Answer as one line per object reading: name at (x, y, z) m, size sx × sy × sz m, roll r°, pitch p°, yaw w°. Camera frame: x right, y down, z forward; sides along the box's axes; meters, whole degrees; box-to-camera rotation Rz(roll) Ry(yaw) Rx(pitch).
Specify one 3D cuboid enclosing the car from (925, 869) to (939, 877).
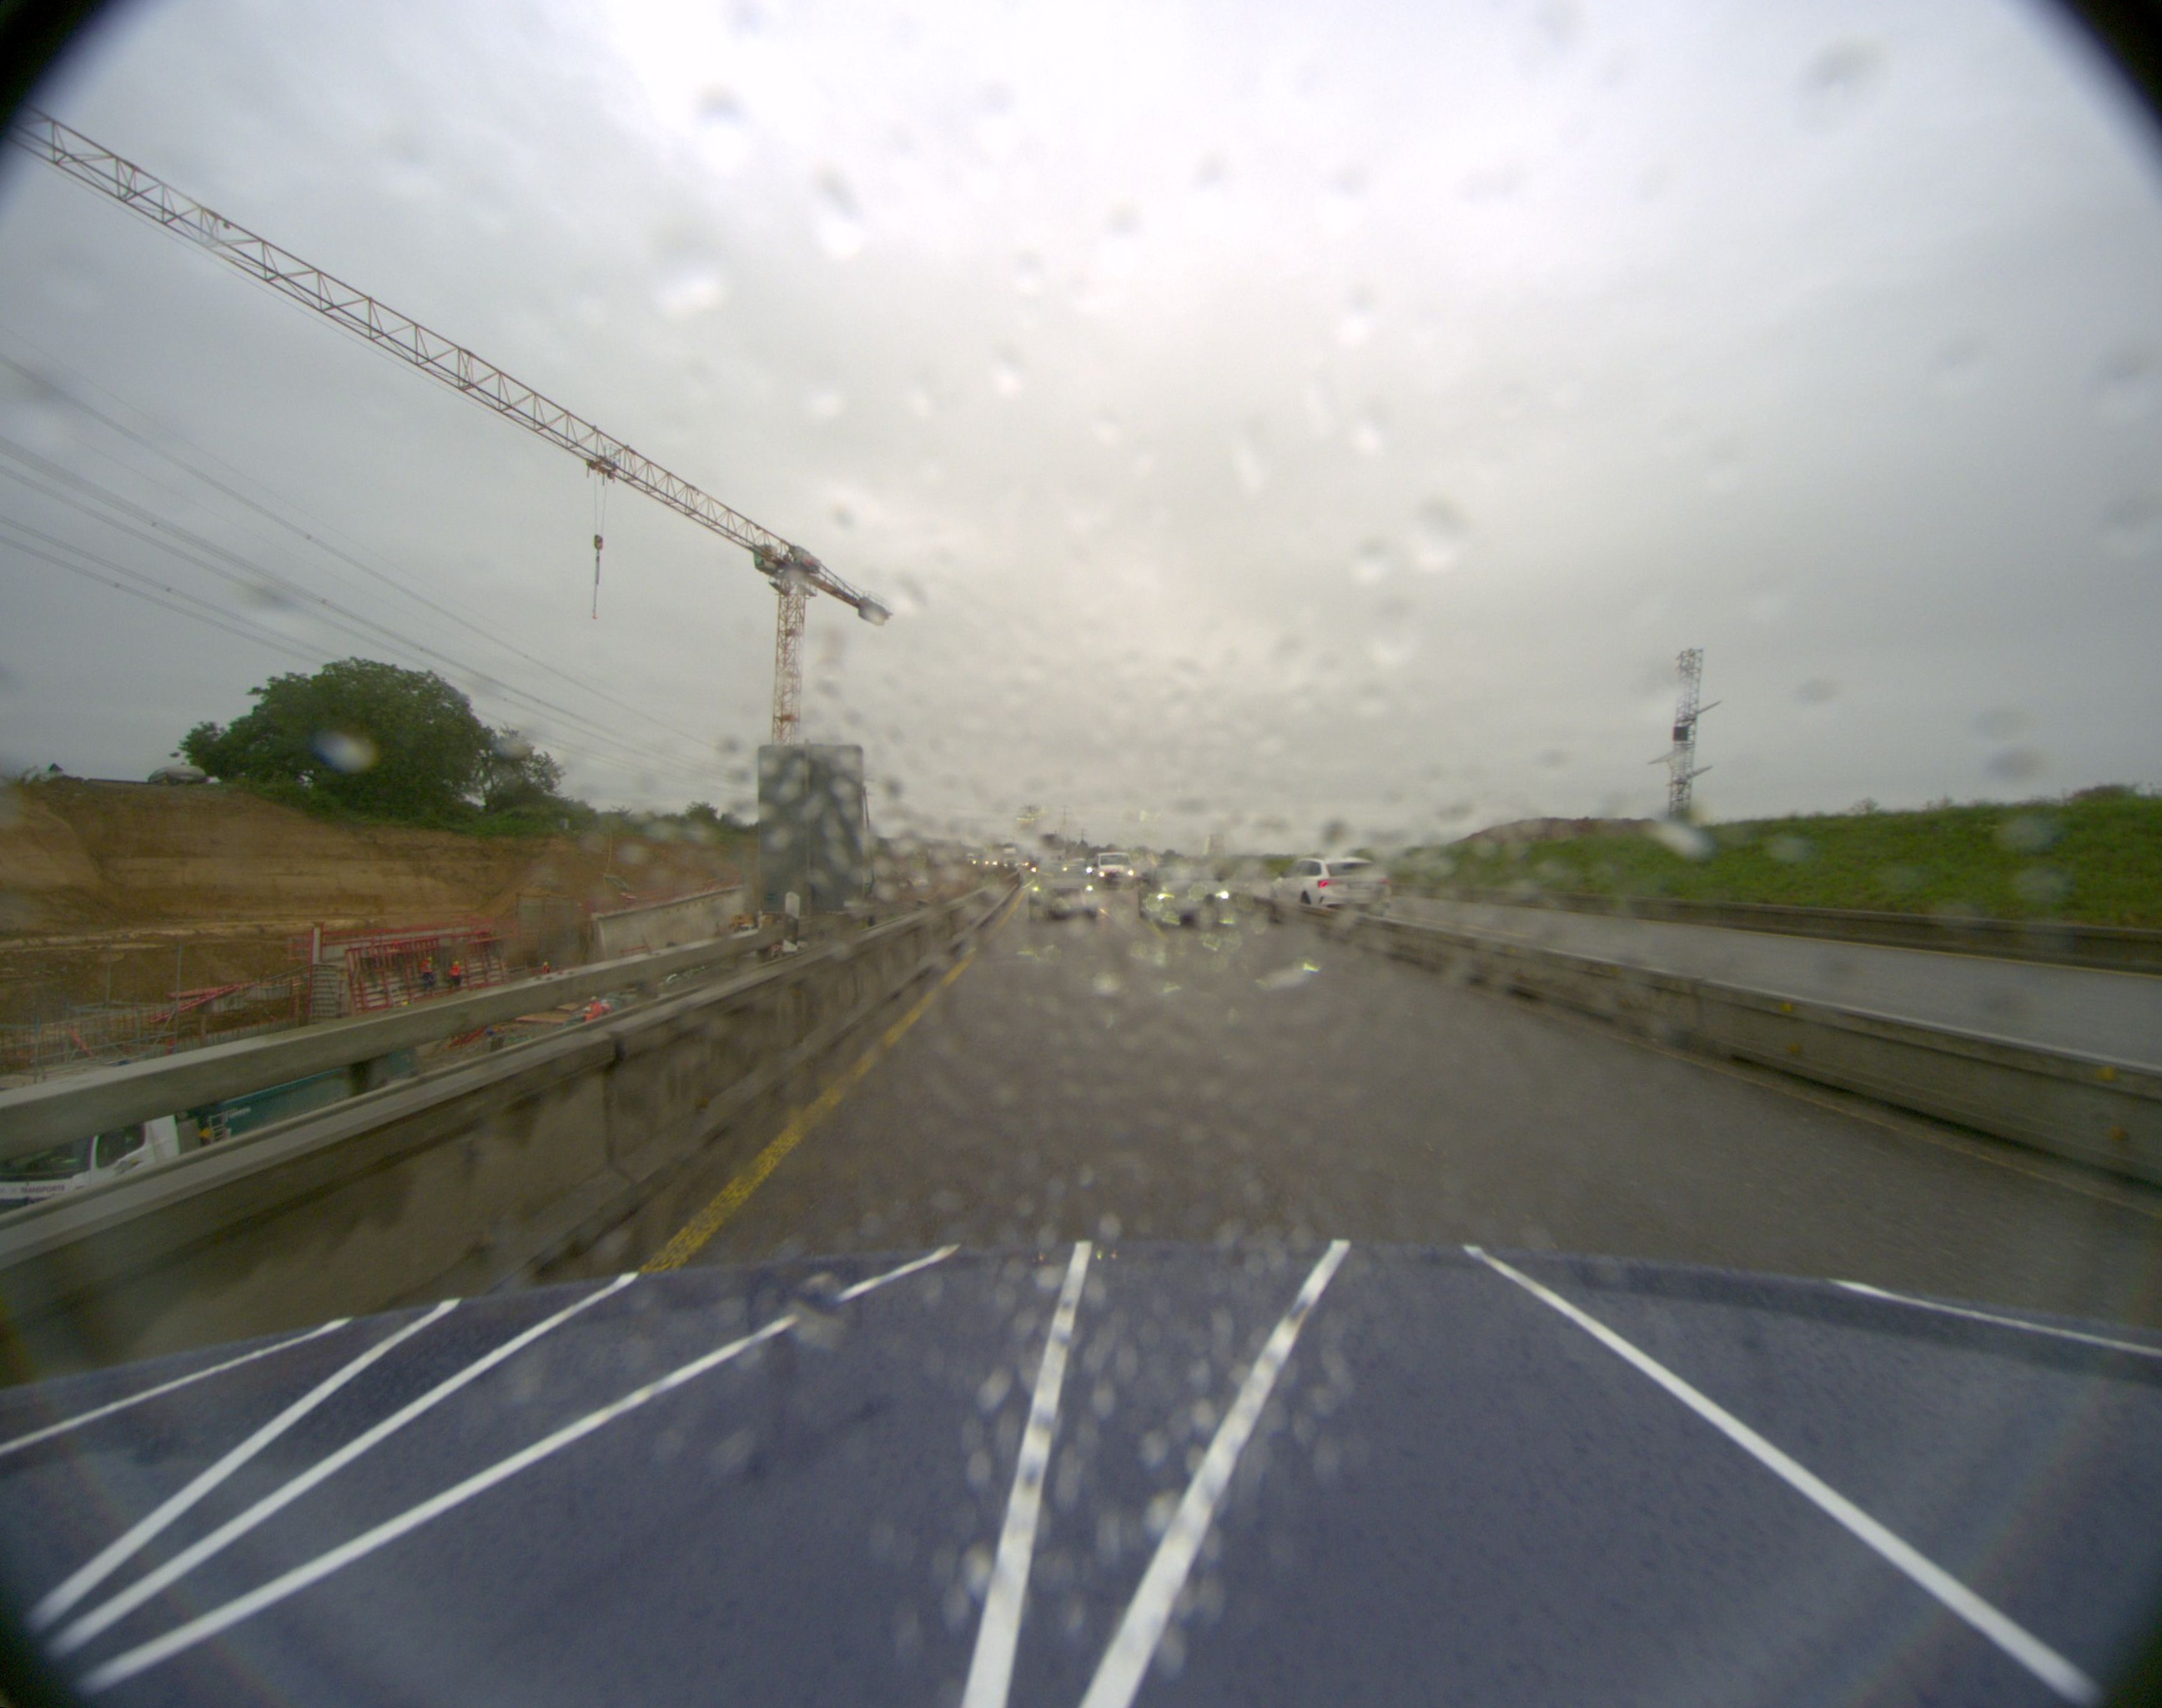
car at (-32.593, 4.156, 166.515) m, size 2.351 × 1.609 × 4.857 m, roll 0°, pitch 1°, yaw -4°

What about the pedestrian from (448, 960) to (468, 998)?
pedestrian at (-35.440, 7.110, 43.209) m, size 0.489 × 2.087 × 0.481 m, roll -6°, pitch 2°, yaw -3°

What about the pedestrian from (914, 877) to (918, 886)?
pedestrian at (-29.601, 4.970, 136.299) m, size 0.614 × 1.671 × 0.603 m, roll -2°, pitch 1°, yaw -2°

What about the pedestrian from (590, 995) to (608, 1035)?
pedestrian at (-24.281, 8.102, 38.272) m, size 0.603 × 1.894 × 0.481 m, roll 2°, pitch 1°, yaw -3°

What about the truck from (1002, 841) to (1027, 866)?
truck at (-12.858, -0.080, 146.375) m, size 4.320 × 4.319 × 13.399 m, roll -2°, pitch 0°, yaw -6°

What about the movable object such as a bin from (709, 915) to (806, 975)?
movable object such as a bin at (-23.201, 6.456, 55.011) m, size 3.515 × 3.405 × 6.654 m, roll -1°, pitch 2°, yaw 6°

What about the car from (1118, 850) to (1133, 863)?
car at (5.315, 0.256, 90.361) m, size 1.362 × 1.456 × 3.715 m, roll 1°, pitch 1°, yaw -3°

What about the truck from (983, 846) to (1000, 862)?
truck at (-23.094, 0.079, 196.090) m, size 3.546 × 3.871 × 8.332 m, roll -2°, pitch 0°, yaw -3°

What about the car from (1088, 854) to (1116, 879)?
car at (1.419, 0.815, 52.626) m, size 1.626 × 1.583 × 3.999 m, roll -2°, pitch 0°, yaw -3°

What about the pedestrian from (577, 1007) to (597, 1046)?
pedestrian at (-23.620, 8.231, 36.319) m, size 0.603 × 1.759 × 0.481 m, roll 3°, pitch 1°, yaw -3°

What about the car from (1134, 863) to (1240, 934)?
car at (2.368, 0.950, 17.968) m, size 1.805 × 1.375 × 4.086 m, roll -1°, pitch 1°, yaw -2°

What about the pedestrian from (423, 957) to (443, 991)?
pedestrian at (-35.552, 6.573, 41.689) m, size 0.488 × 1.793 × 0.583 m, roll -5°, pitch 2°, yaw 38°

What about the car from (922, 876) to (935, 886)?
car at (-29.150, 5.190, 145.593) m, size 1.860 × 1.609 × 4.078 m, roll 0°, pitch 1°, yaw -4°

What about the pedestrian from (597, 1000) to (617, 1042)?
pedestrian at (-23.038, 8.108, 36.956) m, size 0.603 × 1.894 × 0.614 m, roll 1°, pitch 1°, yaw -3°

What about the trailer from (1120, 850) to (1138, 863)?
trailer at (5.414, 0.259, 86.397) m, size 1.635 × 1.456 × 4.159 m, roll 1°, pitch 1°, yaw -3°

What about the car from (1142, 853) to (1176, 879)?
car at (4.959, 0.740, 48.737) m, size 1.653 × 1.494 × 3.828 m, roll -2°, pitch 0°, yaw -1°

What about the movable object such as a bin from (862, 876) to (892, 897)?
movable object such as a bin at (-31.938, 5.089, 119.132) m, size 3.502 × 2.865 × 3.998 m, roll 5°, pitch 1°, yaw -3°

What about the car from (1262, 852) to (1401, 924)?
car at (5.928, 0.725, 18.626) m, size 1.748 × 1.494 × 4.633 m, roll -2°, pitch 0°, yaw -1°

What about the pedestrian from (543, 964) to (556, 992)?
pedestrian at (-34.998, 8.177, 50.020) m, size 0.489 × 1.750 × 0.481 m, roll 1°, pitch 1°, yaw -3°

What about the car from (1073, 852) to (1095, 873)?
car at (0.242, 0.756, 69.574) m, size 1.790 × 1.744 × 3.999 m, roll -2°, pitch 0°, yaw -3°

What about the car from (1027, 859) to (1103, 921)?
car at (-0.500, 0.918, 21.101) m, size 1.875 × 1.481 × 4.259 m, roll -1°, pitch 0°, yaw -3°

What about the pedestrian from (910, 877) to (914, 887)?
pedestrian at (-30.360, 4.992, 136.275) m, size 0.614 × 1.848 × 0.666 m, roll 1°, pitch 1°, yaw -2°

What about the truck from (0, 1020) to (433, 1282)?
truck at (-23.474, 7.540, 21.297) m, size 2.709 × 3.591 × 9.072 m, roll 1°, pitch 1°, yaw 1°

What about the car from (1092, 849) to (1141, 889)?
car at (1.782, 0.701, 40.159) m, size 2.070 × 1.933 × 5.154 m, roll -1°, pitch 1°, yaw -3°

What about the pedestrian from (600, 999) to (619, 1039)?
pedestrian at (-23.465, 8.208, 37.823) m, size 0.603 × 1.894 × 0.481 m, roll 1°, pitch 1°, yaw -3°

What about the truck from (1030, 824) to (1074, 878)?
truck at (-2.191, -0.253, 54.153) m, size 2.857 × 3.462 × 8.639 m, roll -1°, pitch 1°, yaw -4°

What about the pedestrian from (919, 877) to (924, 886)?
pedestrian at (-29.340, 5.021, 139.796) m, size 0.614 × 1.671 × 0.603 m, roll -2°, pitch 1°, yaw -2°
